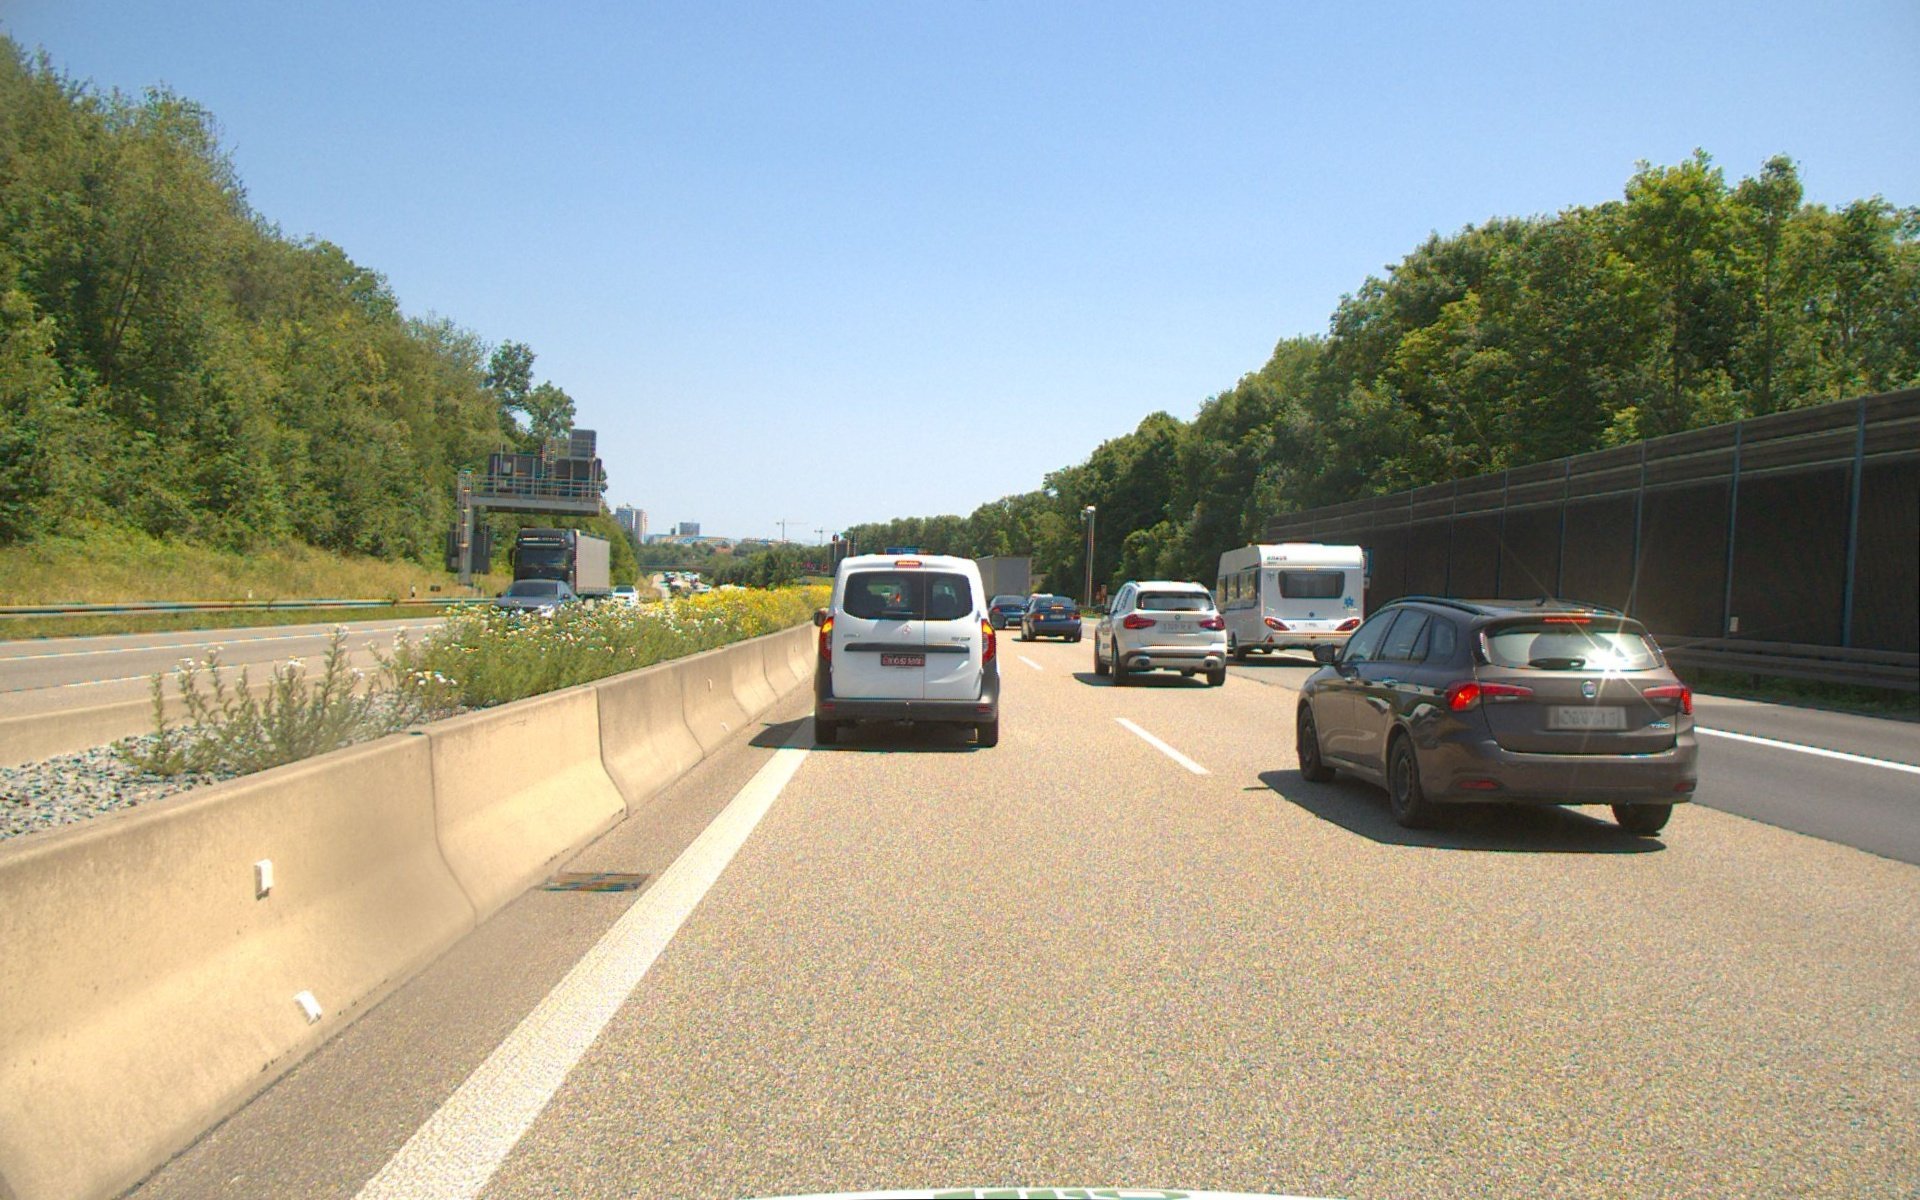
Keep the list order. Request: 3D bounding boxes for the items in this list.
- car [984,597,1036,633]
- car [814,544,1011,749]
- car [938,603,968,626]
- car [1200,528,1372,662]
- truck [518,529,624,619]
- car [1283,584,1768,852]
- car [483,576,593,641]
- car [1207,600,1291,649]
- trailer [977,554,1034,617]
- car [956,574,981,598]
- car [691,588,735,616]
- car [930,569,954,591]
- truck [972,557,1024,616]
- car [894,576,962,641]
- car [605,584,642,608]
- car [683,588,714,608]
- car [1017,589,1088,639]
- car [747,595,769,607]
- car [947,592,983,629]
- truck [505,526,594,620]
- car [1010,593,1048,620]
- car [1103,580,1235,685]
[{"bbox_3d":[2.041,0.603,68.436,1.787,1.449,3.998,1,0,-3],"label":"car"},{"bbox_3d":[-0.389,0.412,17.081,1.765,1.839,4.001,1,0,1],"label":"car"},{"bbox_3d":[-0.504,0.933,110.122,1.787,1.472,3.998,1,0,-3],"label":"car"},{"bbox_3d":[7.357,-0.102,38.109,2.429,2.814,6.216,1,0,-3],"label":"car"},{"bbox_3d":[-18.872,-1.181,81.249,2.773,4.007,13.735,1,0,-4],"label":"truck"},{"bbox_3d":[3.761,0.676,11.925,1.801,1.539,4.399,1,1,-3],"label":"car"},{"bbox_3d":[-11.584,0.217,45.692,1.953,1.656,4.473,1,0,-1],"label":"car"},{"bbox_3d":[8.979,0.748,51.676,1.787,1.449,3.998,1,0,-2],"label":"car"},{"bbox_3d":[3.034,-0.928,113.386,3.020,4.055,10.317,1,0,-3],"label":"trailer"},{"bbox_3d":[0.701,-1.196,144.759,1.954,2.049,3.998,1,0,-3],"label":"car"},{"bbox_3d":[-14.113,0.089,94.739,1.953,1.524,4.246,1,0,-2],"label":"car"},{"bbox_3d":[-1.744,-1.962,162.013,1.955,2.049,3.994,1,0,-7],"label":"car"},{"bbox_3d":[2.688,-0.960,120.636,3.020,4.055,9.640,1,0,-3],"label":"truck"},{"bbox_3d":[-1.028,0.259,50.912,1.954,1.892,3.998,1,0,-3],"label":"car"},{"bbox_3d":[-24.859,-0.317,122.322,1.953,1.721,4.765,1,0,-2],"label":"car"},{"bbox_3d":[-20.801,-0.172,131.598,1.953,1.517,3.998,1,0,-2],"label":"car"},{"bbox_3d":[2.838,0.421,51.401,1.787,1.449,3.998,1,0,-3],"label":"car"},{"bbox_3d":[-21.332,0.094,174.438,1.953,1.199,4.063,1,0,-2],"label":"car"},{"bbox_3d":[0.256,0.607,93.624,1.787,2.024,3.998,1,0,-3],"label":"car"},{"bbox_3d":[-18.443,-1.179,74.628,2.773,4.008,6.002,1,0,-4],"label":"truck"},{"bbox_3d":[3.900,0.364,93.932,1.787,1.449,3.998,1,0,-3],"label":"car"},{"bbox_3d":[3.503,0.494,28.363,1.832,1.636,3.879,1,1,1],"label":"car"}]
